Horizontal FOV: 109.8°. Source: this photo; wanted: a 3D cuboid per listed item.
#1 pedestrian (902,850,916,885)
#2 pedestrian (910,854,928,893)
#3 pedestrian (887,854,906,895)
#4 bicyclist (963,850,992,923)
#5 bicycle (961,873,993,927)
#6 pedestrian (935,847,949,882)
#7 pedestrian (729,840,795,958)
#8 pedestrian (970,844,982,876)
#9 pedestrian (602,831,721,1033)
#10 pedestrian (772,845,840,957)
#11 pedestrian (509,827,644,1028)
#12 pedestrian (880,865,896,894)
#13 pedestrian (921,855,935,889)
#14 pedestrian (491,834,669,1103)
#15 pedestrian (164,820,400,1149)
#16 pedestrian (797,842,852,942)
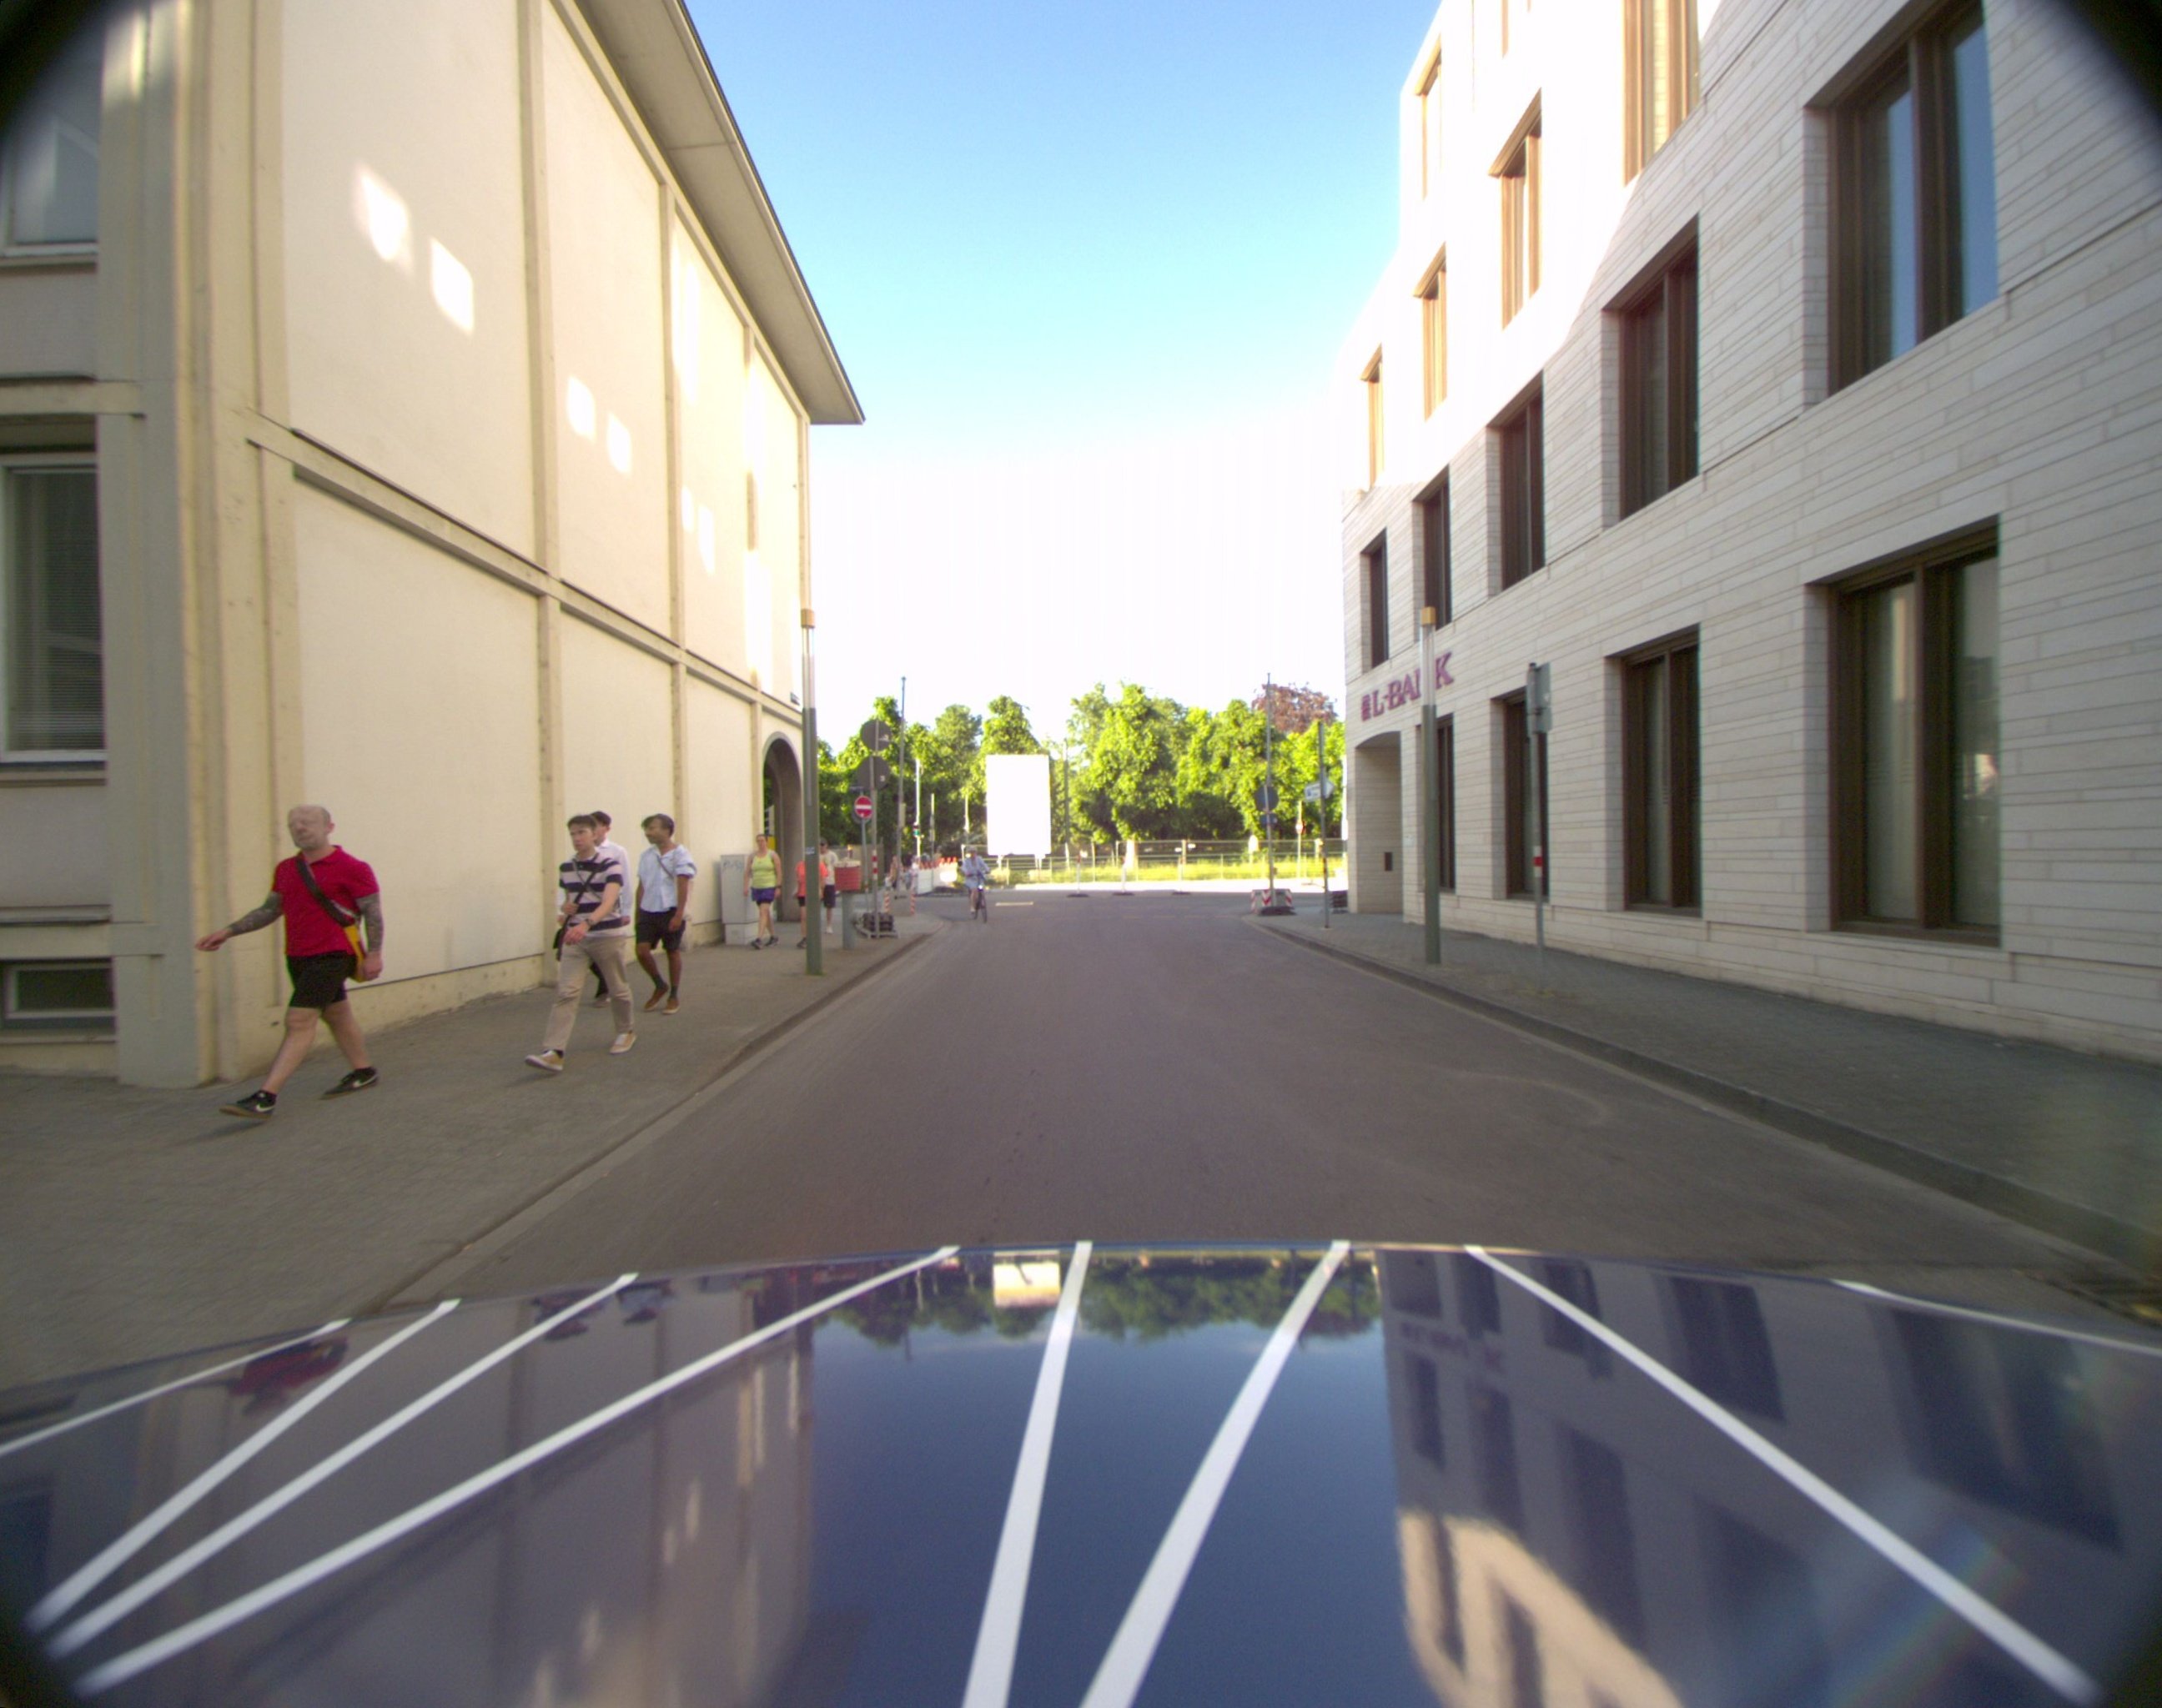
[{"bbox_3d":[-9.013,0.696,39.864,0.626,1.773,0.622,-1,2,-7],"label":"pedestrian"},{"bbox_3d":[-6.738,0.806,31.621,0.626,1.604,0.622,-1,2,-7],"label":"pedestrian"},{"bbox_3d":[-7.506,0.828,30.901,0.626,1.632,0.622,-1,2,-7],"label":"pedestrian"},{"bbox_3d":[-2.416,0.747,17.784,0.586,1.679,0.538,-1,2,-5],"label":"bicyclist"},{"bbox_3d":[-2.403,1.039,17.743,0.595,1.077,2.309,-1,1,-4],"label":"bicycle"},{"bbox_3d":[-7.289,0.537,39.811,0.626,1.773,0.622,-1,2,-7],"label":"pedestrian"},{"bbox_3d":[-4.792,0.657,11.440,0.685,1.705,0.693,1,1,0],"label":"pedestrian"},{"bbox_3d":[-6.041,0.339,43.778,0.626,1.773,0.622,-1,2,-7],"label":"pedestrian"},{"bbox_3d":[-3.878,0.691,7.072,0.685,1.768,0.693,2,1,0],"label":"pedestrian"},{"bbox_3d":[-4.200,0.702,11.663,0.685,1.627,0.693,4,1,0],"label":"pedestrian"},{"bbox_3d":[-4.771,0.665,7.232,0.685,1.768,0.693,5,1,0],"label":"pedestrian"},{"bbox_3d":[-8.019,1.047,31.508,0.535,1.170,0.622,-1,2,-7],"label":"pedestrian"},{"bbox_3d":[-8.071,0.944,40.020,0.626,1.773,0.622,-1,2,-7],"label":"pedestrian"},{"bbox_3d":[-3.573,0.776,5.477,0.685,1.768,0.693,5,1,0],"label":"pedestrian"},{"bbox_3d":[-4.627,0.713,4.439,0.685,1.768,0.593,3,1,0],"label":"pedestrian"},{"bbox_3d":[-4.558,0.656,13.518,0.685,1.705,0.693,2,1,0],"label":"pedestrian"}]
